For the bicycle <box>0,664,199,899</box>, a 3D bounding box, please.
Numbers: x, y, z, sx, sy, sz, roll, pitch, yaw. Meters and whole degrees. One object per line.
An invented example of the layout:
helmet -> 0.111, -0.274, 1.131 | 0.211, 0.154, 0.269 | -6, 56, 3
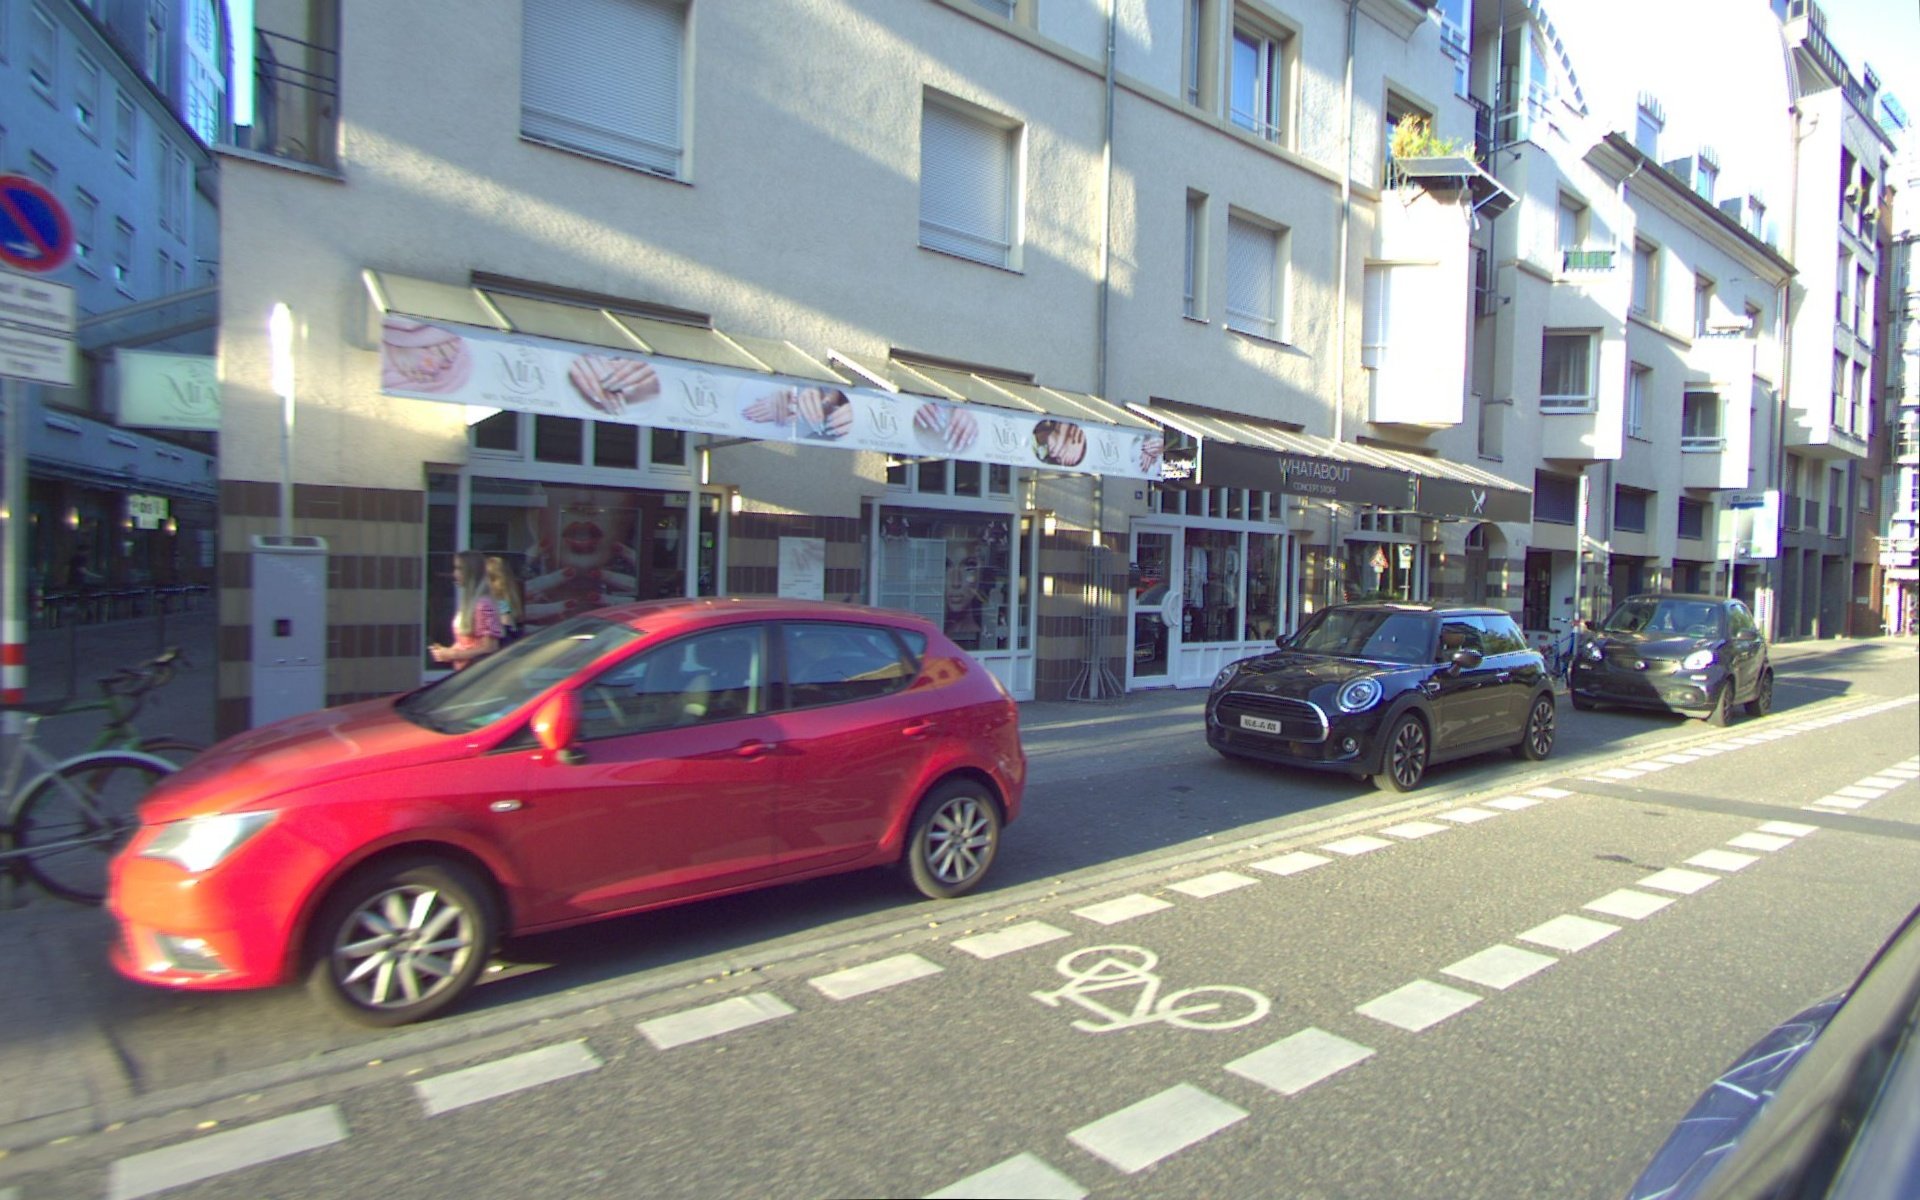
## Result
bicycle -> -4.414, 0.824, 4.516 | 1.611, 0.968, 0.391 | 0, 2, -41

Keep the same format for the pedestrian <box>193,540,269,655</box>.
pedestrian -> -11.049, -0.058, 15.342 | 0.912, 1.665, 0.747 | 2, 2, 40

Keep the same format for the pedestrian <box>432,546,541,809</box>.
pedestrian -> -2.961, 0.445, 6.313 | 0.543, 1.549, 0.542 | 0, 2, -32

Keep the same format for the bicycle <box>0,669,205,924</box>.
bicycle -> -4.122, 0.828, 4.181 | 1.587, 0.968, 0.391 | 0, 2, -41

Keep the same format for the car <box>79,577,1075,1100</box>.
car -> -1.493, 0.667, 4.807 | 3.959, 1.439, 1.727 | 0, 3, -38

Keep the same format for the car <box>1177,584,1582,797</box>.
car -> 3.826, 0.629, 9.022 | 3.680, 1.439, 1.727 | 0, 3, -38

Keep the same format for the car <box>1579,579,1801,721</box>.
car -> 9.453, 0.563, 13.071 | 2.752, 1.568, 1.572 | 0, 3, -38

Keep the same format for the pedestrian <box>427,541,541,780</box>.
pedestrian -> -3.277, 0.383, 6.961 | 0.638, 1.549, 0.542 | 0, 2, -32
